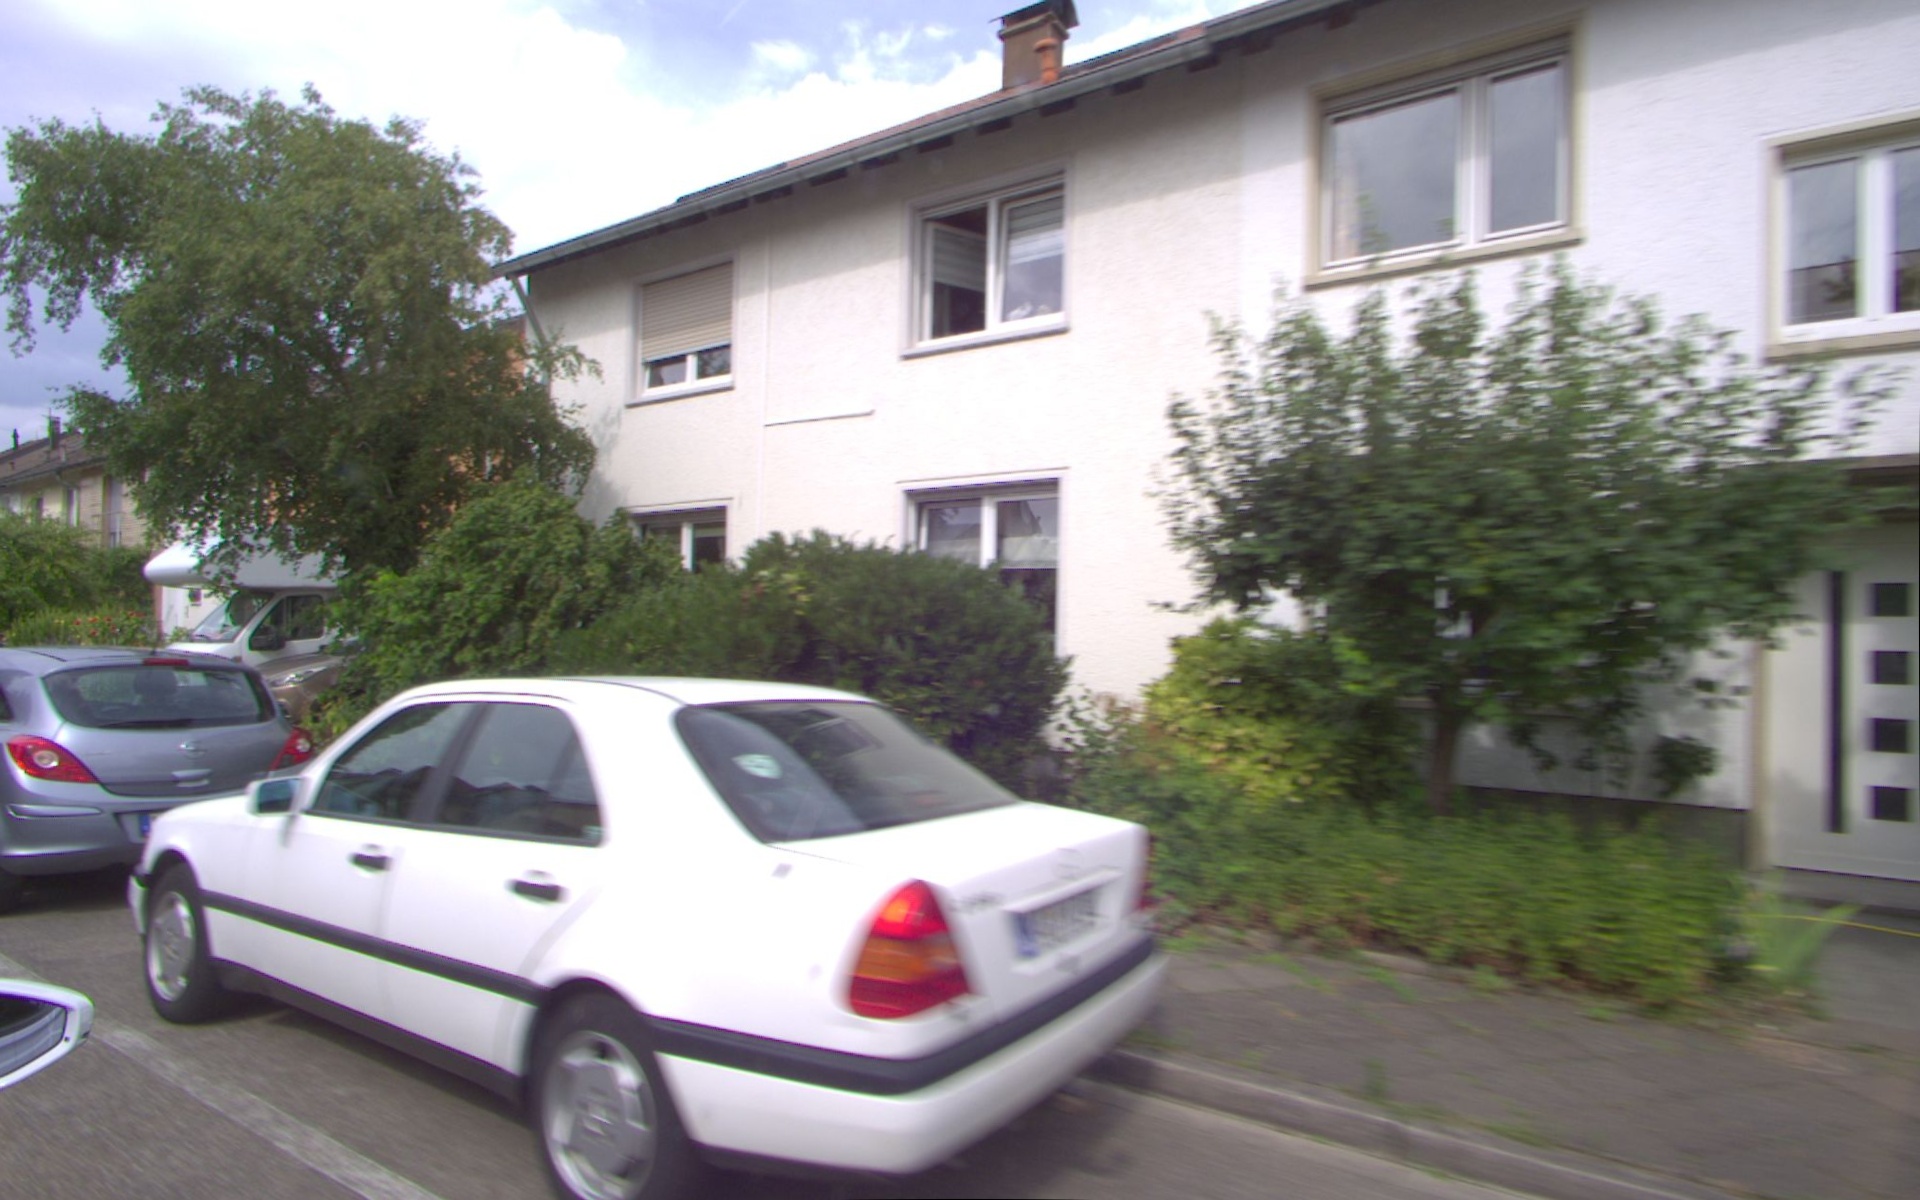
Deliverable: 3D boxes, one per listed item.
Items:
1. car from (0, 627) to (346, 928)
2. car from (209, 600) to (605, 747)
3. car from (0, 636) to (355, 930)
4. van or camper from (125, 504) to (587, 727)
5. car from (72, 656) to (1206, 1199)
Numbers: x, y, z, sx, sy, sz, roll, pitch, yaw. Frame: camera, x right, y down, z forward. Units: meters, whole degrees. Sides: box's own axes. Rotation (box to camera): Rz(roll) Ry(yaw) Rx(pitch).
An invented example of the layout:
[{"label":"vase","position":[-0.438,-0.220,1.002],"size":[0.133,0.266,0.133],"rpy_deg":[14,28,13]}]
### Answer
[{"label":"car","position":[-6.210,0.960,6.906],"size":[4.157,1.489,1.738],"rpy_deg":[0,-2,33]},{"label":"car","position":[-7.574,0.971,14.178],"size":[1.874,1.729,4.520],"rpy_deg":[0,-3,36]},{"label":"car","position":[-6.210,1.006,6.916],"size":[4.158,1.460,1.702],"rpy_deg":[0,-3,31]},{"label":"van or camper","position":[-9.241,0.296,15.921],"size":[2.504,2.854,5.781],"rpy_deg":[0,-2,37]},{"label":"car","position":[-1.561,0.975,3.949],"size":[4.631,1.382,1.691],"rpy_deg":[0,-2,33]}]
